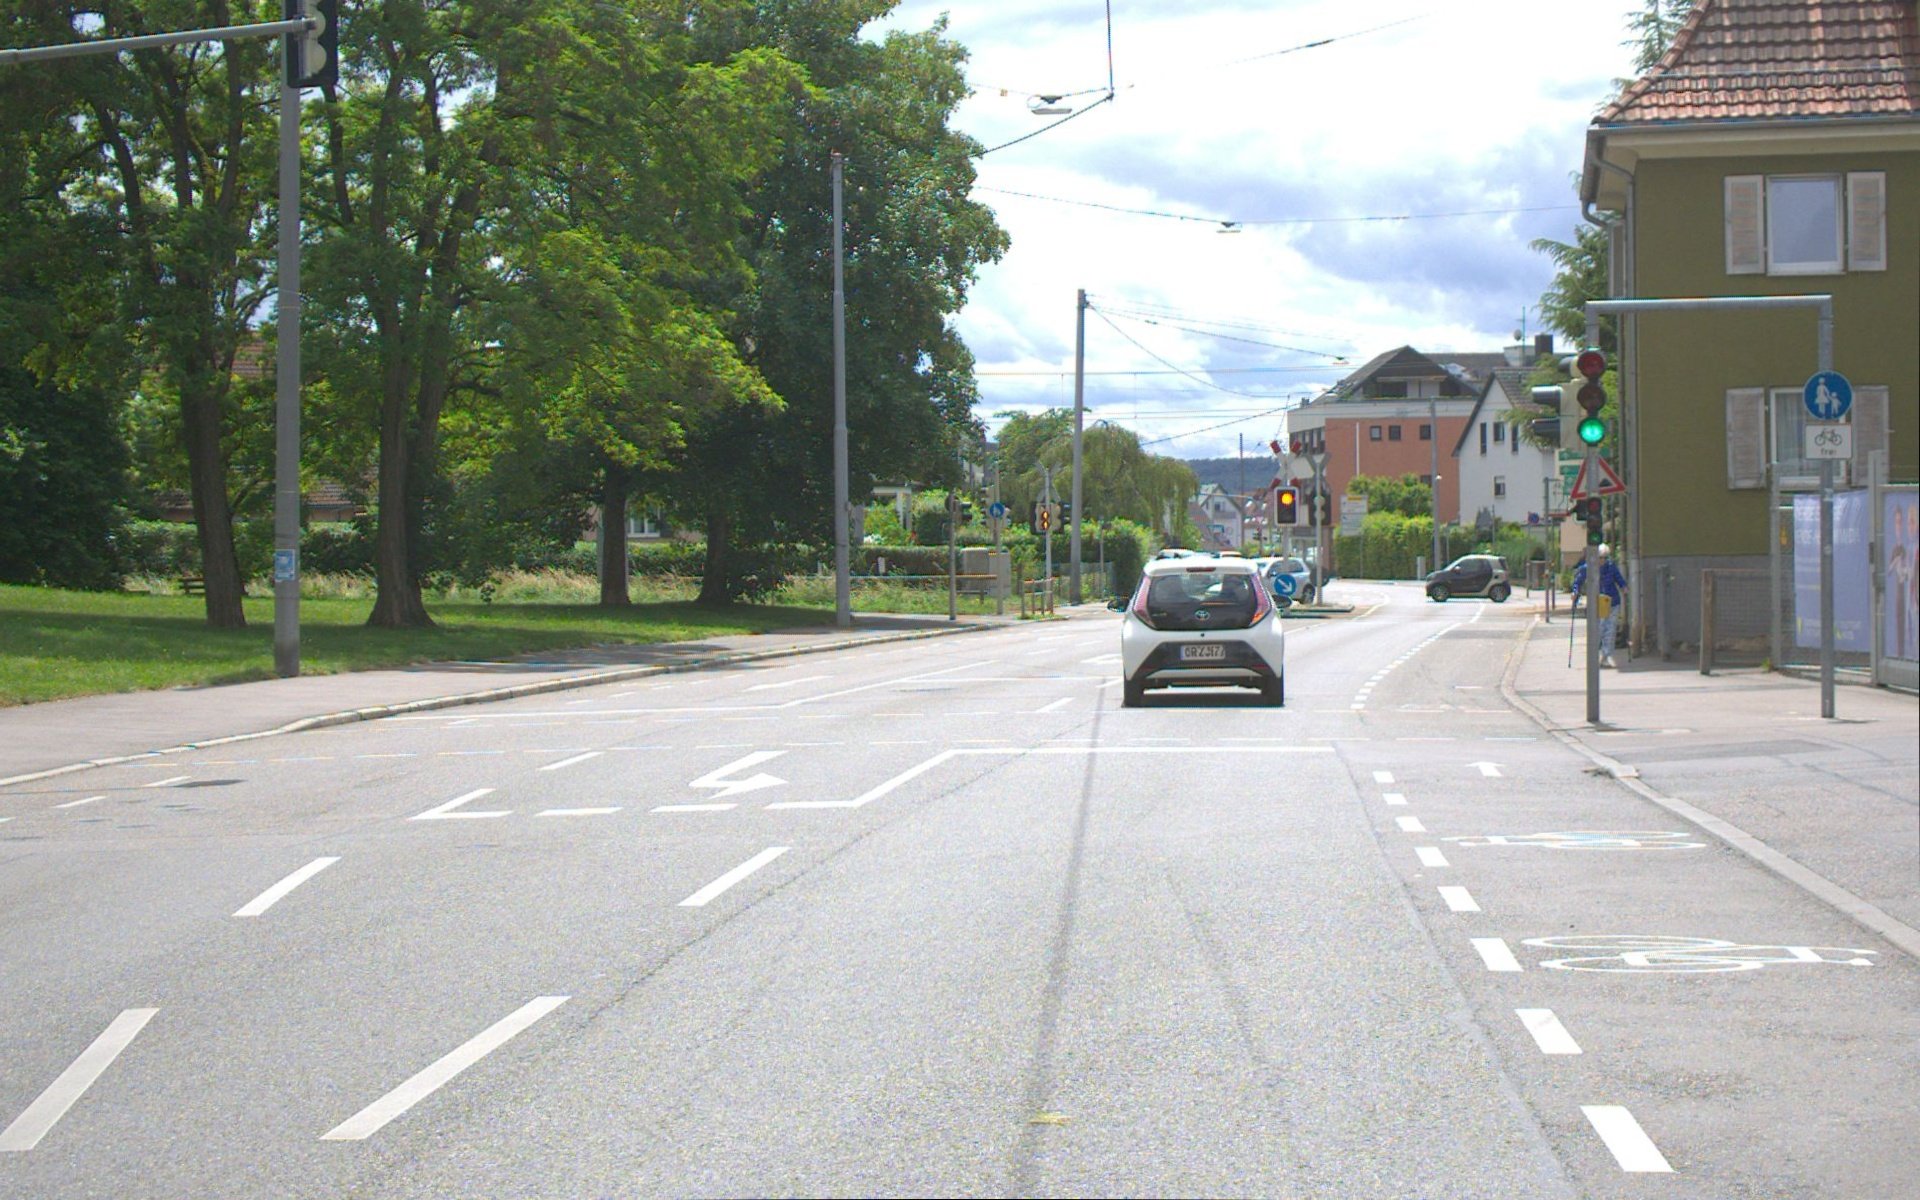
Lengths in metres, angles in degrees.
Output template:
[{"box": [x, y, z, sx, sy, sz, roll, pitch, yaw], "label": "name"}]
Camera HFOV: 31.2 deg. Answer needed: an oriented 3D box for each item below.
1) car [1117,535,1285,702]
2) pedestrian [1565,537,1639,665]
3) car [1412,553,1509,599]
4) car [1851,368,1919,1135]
[{"box": [2.432, 0.172, 35.434, 1.603, 1.601, 4.000, -1, 0, 2], "label": "car"}, {"box": [8.066, 0.024, 43.198, 0.678, 1.548, 0.835, -3, -2, -1], "label": "pedestrian"}, {"box": [16.222, -0.774, 111.548, 3.041, 1.429, 1.483, -1, 0, 6], "label": "car"}, {"box": [4.652, 0.260, 9.988, 1.943, 1.954, 4.822, -2, 1, 42], "label": "car"}]
